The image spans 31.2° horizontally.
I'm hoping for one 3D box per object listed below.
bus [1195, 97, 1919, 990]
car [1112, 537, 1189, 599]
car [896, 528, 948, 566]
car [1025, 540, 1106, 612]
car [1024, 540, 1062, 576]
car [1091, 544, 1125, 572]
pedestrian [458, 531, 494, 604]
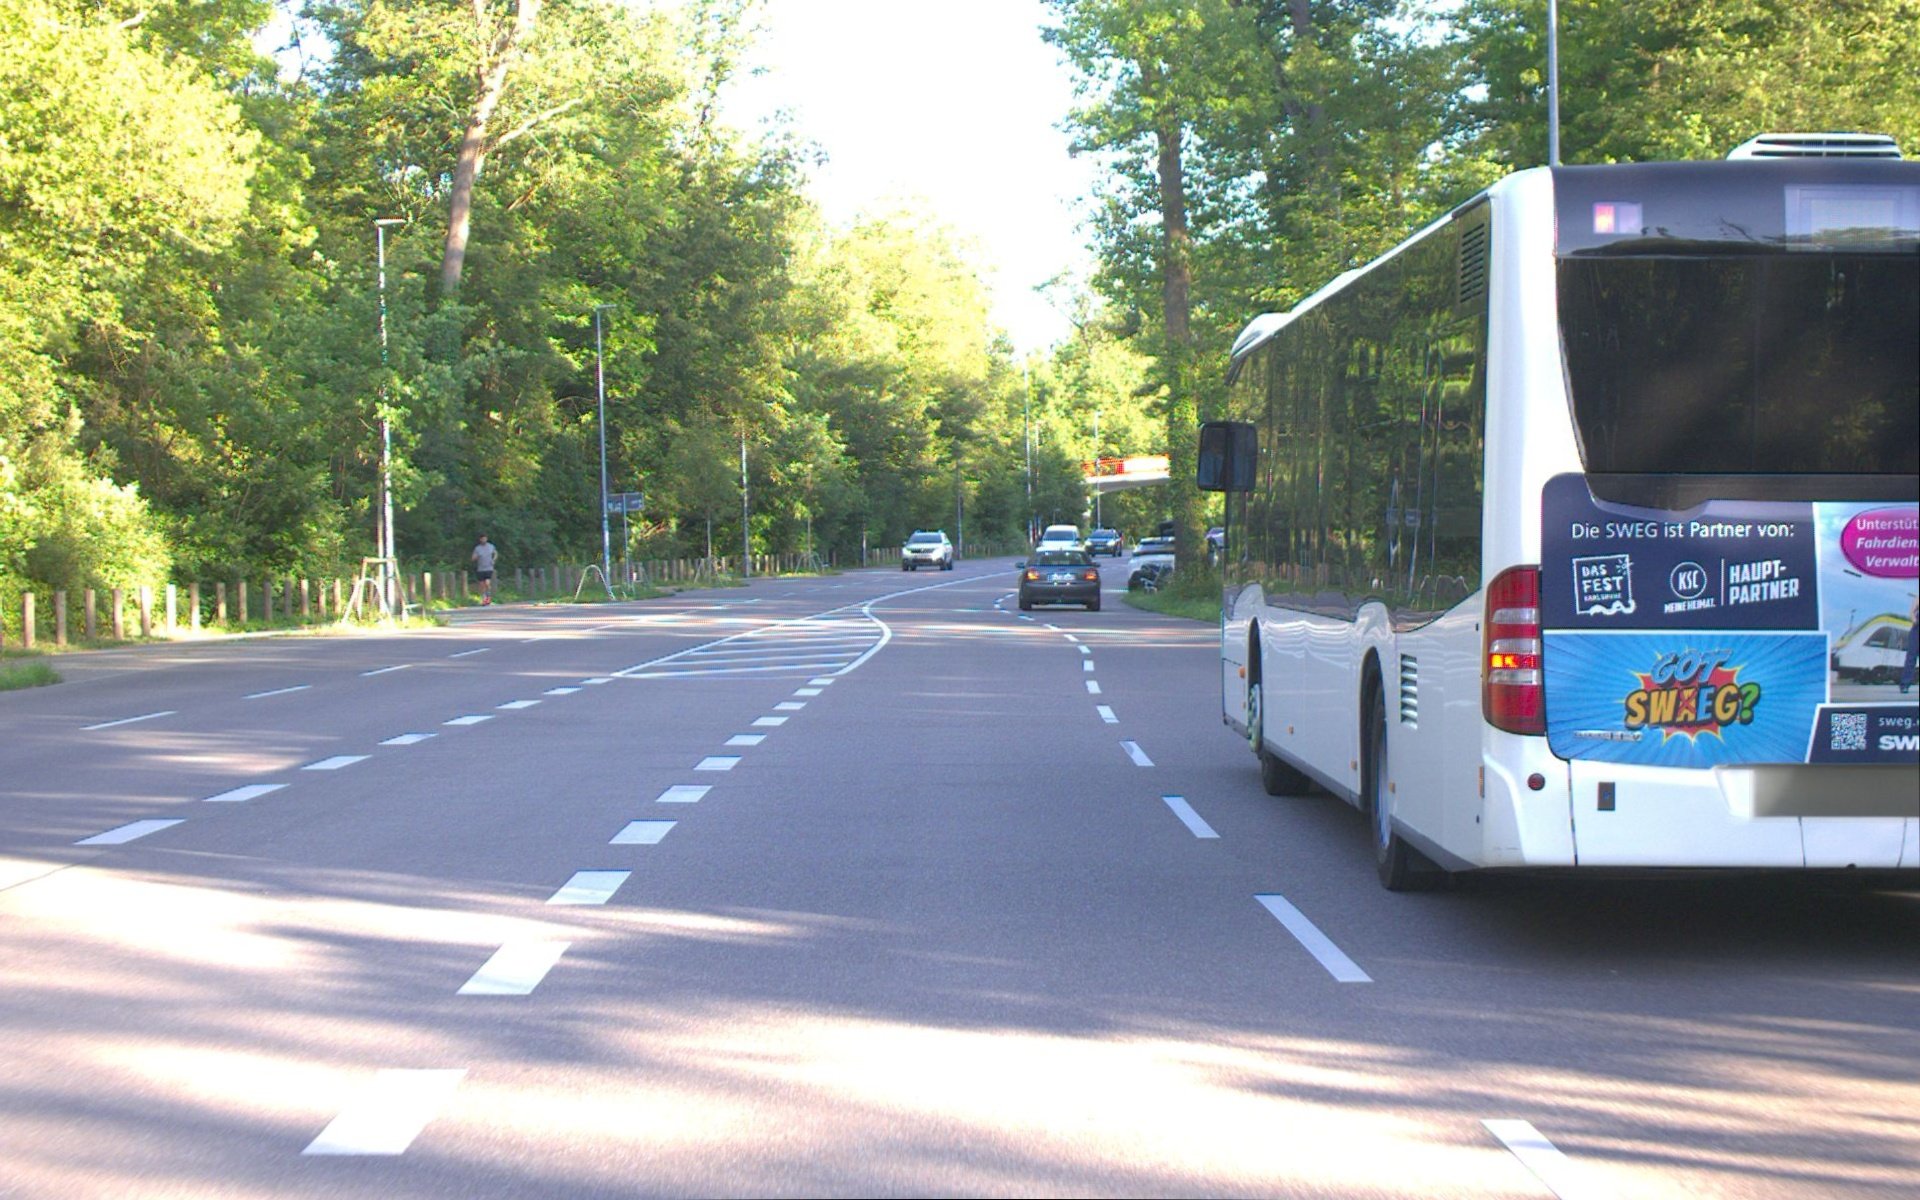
[{"bbox_3d":[3.018,-0.240,17.719,2.689,3.032,12.041,0,0,0],"label":"bus"},{"bbox_3d":[5.151,-0.860,92.607,1.632,1.653,4.130,0,0,10],"label":"car"},{"bbox_3d":[-1.579,-2.207,143.961,1.863,1.532,4.131,0,0,4],"label":"car"},{"bbox_3d":[2.346,-0.529,75.696,1.632,1.542,4.131,0,0,4],"label":"car"},{"bbox_3d":[4.055,-2.048,168.817,1.863,1.723,4.000,0,0,1],"label":"car"},{"bbox_3d":[8.300,-2.347,193.368,1.863,1.560,4.000,1,0,2],"label":"car"},{"bbox_3d":[-12.001,-0.810,85.217,0.779,1.806,0.770,0,1,0],"label":"pedestrian"}]
